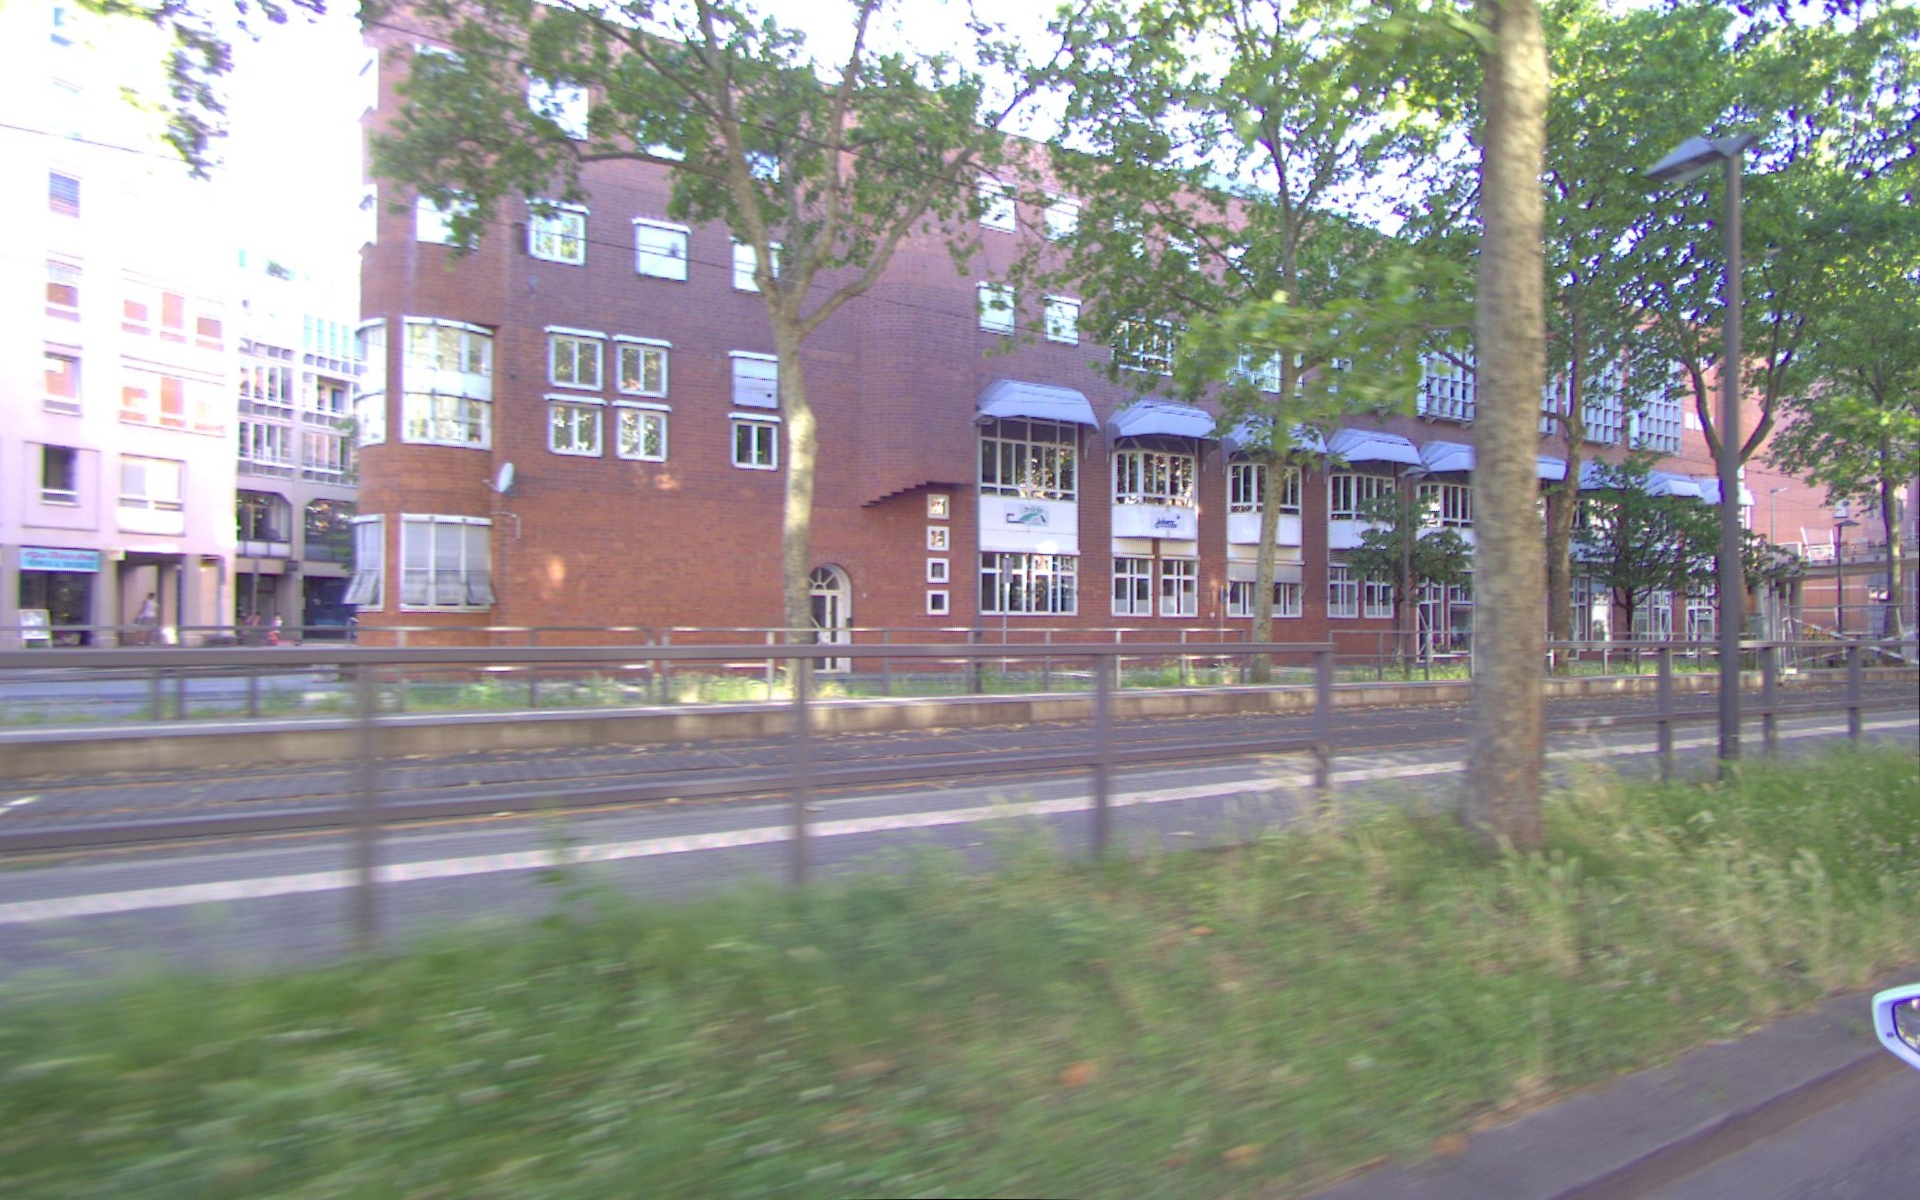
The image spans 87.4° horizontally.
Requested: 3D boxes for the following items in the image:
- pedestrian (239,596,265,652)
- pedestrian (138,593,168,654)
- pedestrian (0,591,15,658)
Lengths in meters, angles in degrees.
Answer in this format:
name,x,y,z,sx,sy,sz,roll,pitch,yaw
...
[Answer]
name,x,y,z,sx,sy,sz,roll,pitch,yaw
pedestrian,-25.262,0.857,35.836,0.657,1.962,0.610,1,-1,-45
pedestrian,-27.393,0.808,34.110,0.654,2.040,0.614,1,-1,-29
pedestrian,-28.703,0.721,29.704,0.810,1.968,0.757,0,-1,-14
